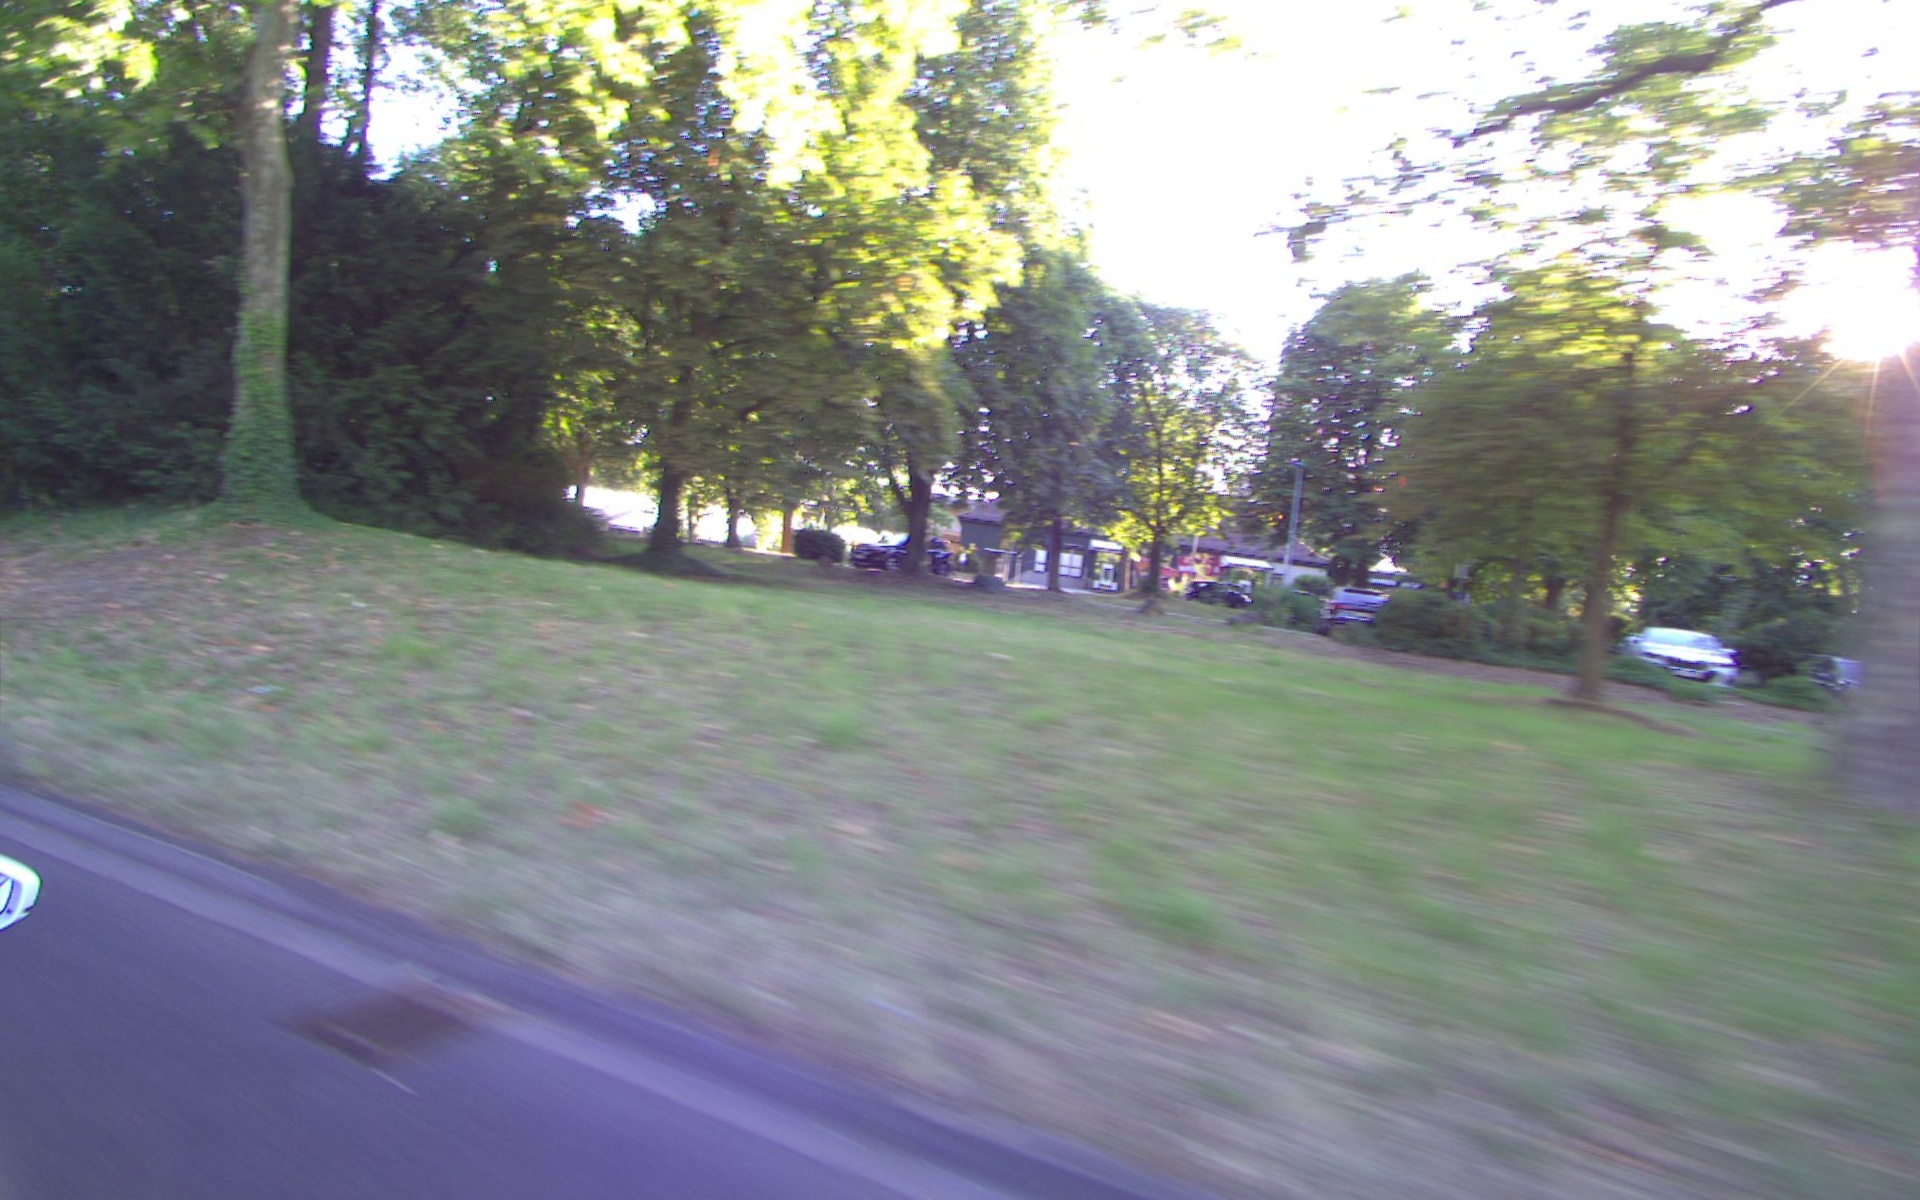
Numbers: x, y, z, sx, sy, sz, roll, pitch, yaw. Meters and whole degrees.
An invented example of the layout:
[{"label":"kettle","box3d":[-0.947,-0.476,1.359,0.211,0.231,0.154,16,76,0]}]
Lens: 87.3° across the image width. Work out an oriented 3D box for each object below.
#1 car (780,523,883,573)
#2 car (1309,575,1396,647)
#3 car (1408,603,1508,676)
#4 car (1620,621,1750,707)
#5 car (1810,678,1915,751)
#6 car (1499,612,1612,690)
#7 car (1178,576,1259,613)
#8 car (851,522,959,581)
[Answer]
[{"label":"car","box3d":[-5.289,-2.128,41.809,1.781,1.572,3.981,7,1,40]},{"label":"car","box3d":[11.068,0.338,28.605,1.793,1.709,4.224,7,1,17]},{"label":"car","box3d":[13.972,1.096,28.455,1.794,1.709,4.223,7,1,19]},{"label":"car","box3d":[18.104,1.567,25.347,1.966,1.728,4.888,7,1,30]},{"label":"car","box3d":[26.713,3.344,29.875,1.652,1.752,3.492,8,1,34]},{"label":"car","box3d":[15.809,1.327,26.914,1.794,1.709,4.222,7,1,22]},{"label":"car","box3d":[14.016,-0.301,54.674,3.923,1.572,1.807,7,1,7]},{"label":"car","box3d":[-1.865,-1.659,35.339,1.777,1.572,3.991,7,1,30]}]
